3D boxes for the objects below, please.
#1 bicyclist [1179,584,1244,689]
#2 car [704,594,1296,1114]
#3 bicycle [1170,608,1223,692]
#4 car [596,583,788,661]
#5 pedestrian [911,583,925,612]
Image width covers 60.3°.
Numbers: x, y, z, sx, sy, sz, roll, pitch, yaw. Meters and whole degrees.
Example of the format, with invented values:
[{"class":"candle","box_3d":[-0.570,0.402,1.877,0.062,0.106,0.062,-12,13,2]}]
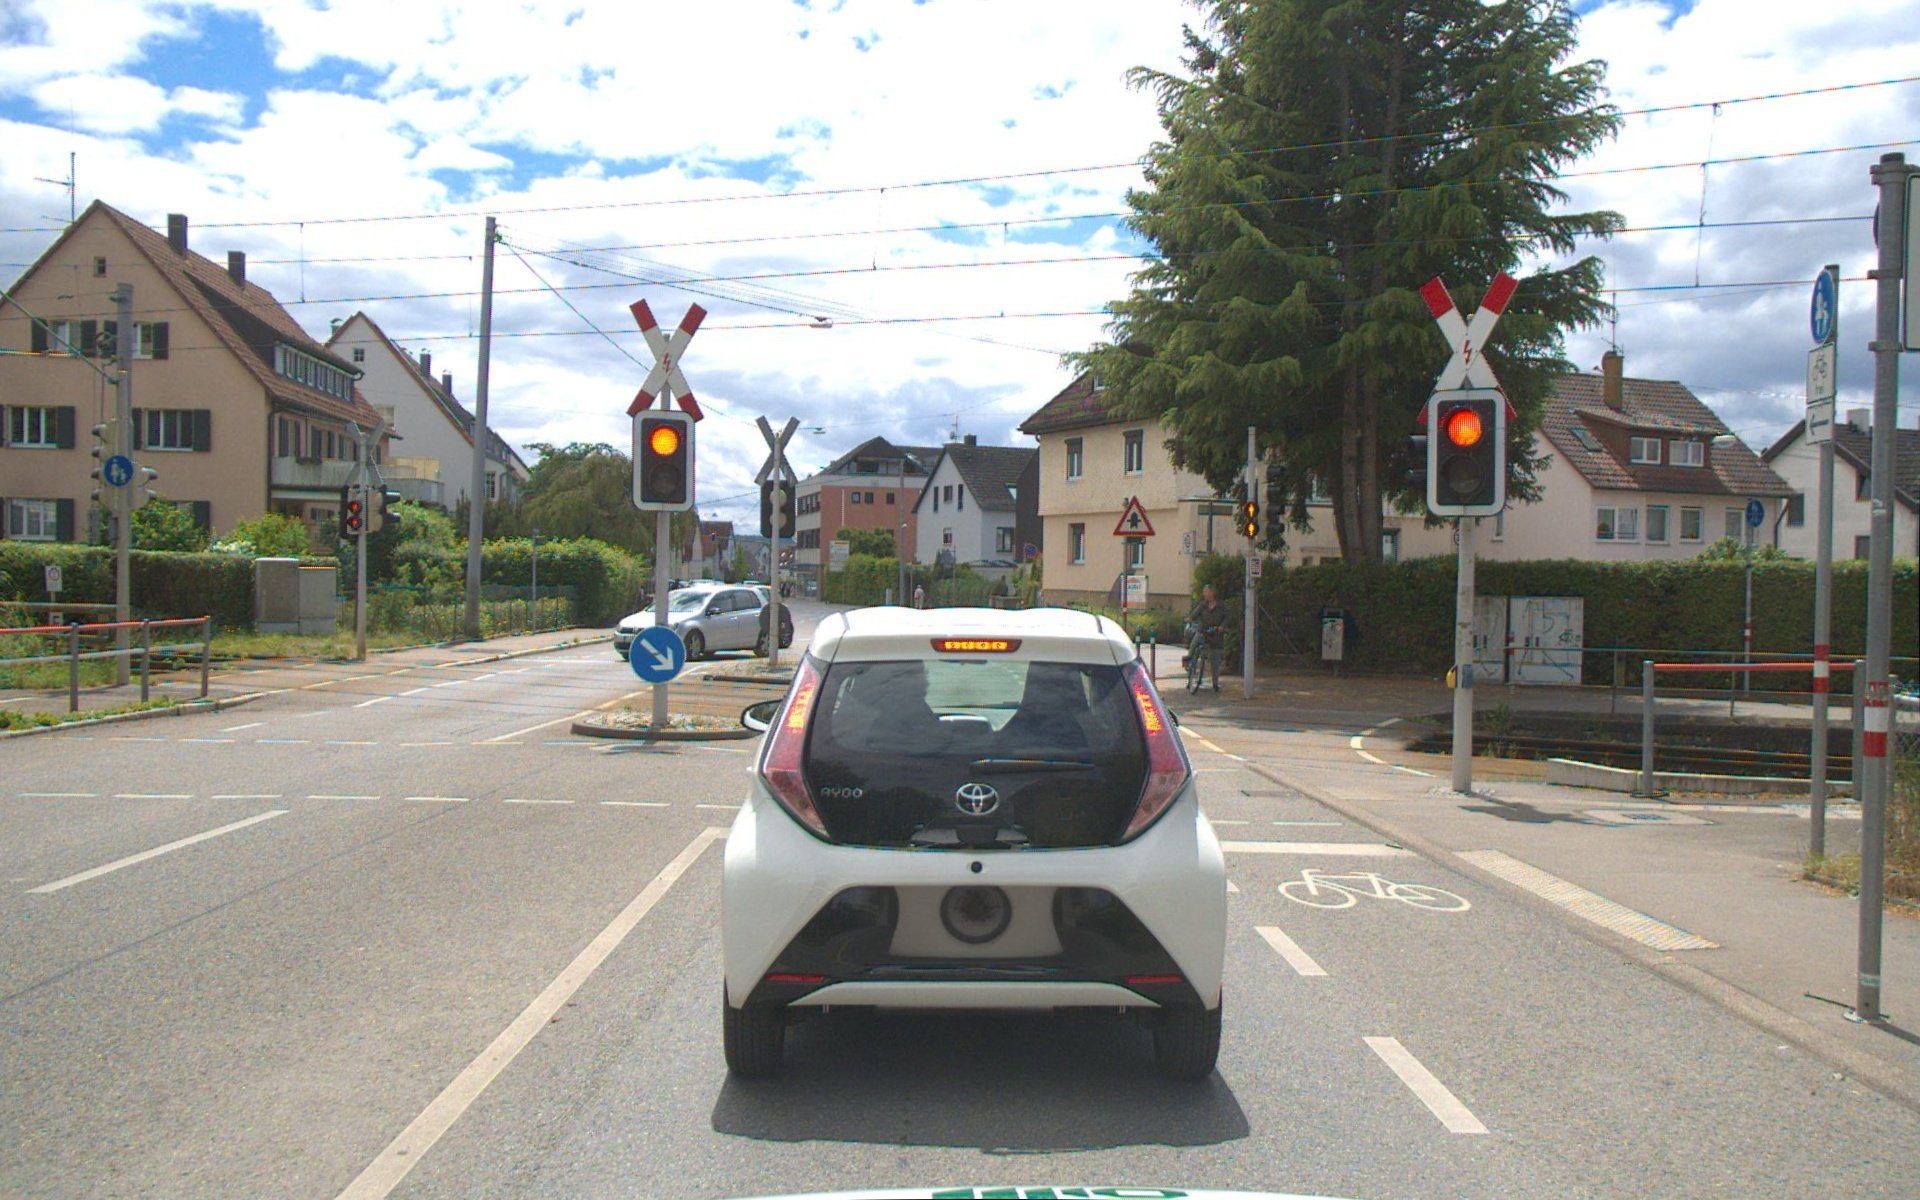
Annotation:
[{"class":"bicyclist","box_3d":[3.971,0.568,26.184,0.825,1.580,0.755,-2,3,-7]},{"class":"car","box_3d":[-0.003,0.725,6.600,1.687,1.467,3.705,1,0,-4]},{"class":"bicycle","box_3d":[3.732,0.775,26.197,0.448,1.192,1.477,-2,3,-6]},{"class":"car","box_3d":[-5.498,0.456,34.445,1.868,1.466,4.093,2,0,27]},{"class":"pedestrian","box_3d":[-2.352,-0.132,93.036,0.711,1.604,0.803,2,0,-1]}]
